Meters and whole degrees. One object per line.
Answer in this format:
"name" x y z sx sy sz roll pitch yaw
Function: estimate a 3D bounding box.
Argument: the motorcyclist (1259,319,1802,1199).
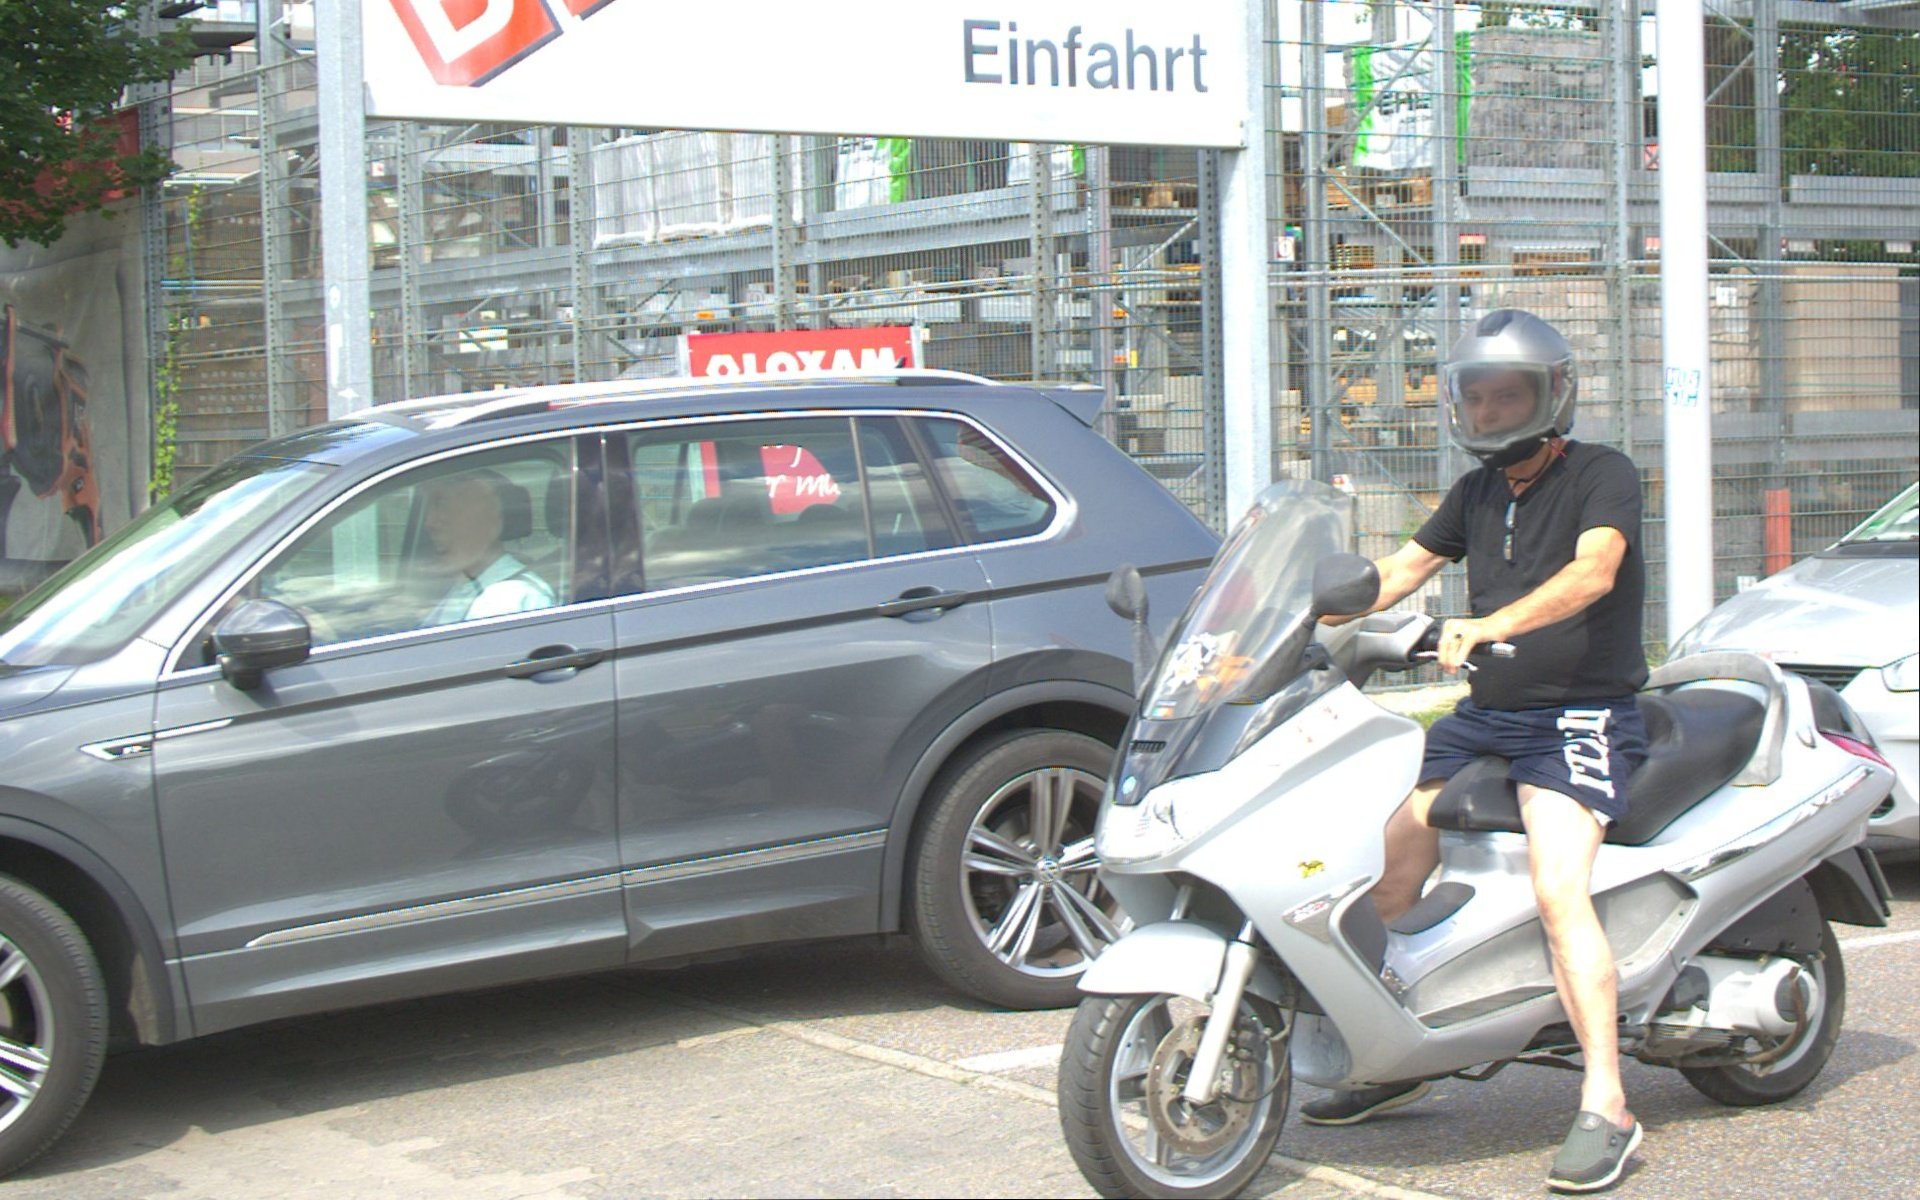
"motorcyclist" 1.118 0.276 6.800 0.684 1.623 0.789 -3 3 -30

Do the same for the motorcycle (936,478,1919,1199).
"motorcycle" 1.094 0.444 6.785 2.206 1.301 0.672 -3 3 -30

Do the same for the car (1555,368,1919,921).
"car" 4.176 0.004 11.317 4.195 1.559 1.723 -3 3 -29

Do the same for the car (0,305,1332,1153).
"car" -1.449 0.236 8.631 4.371 1.660 1.770 -5 4 -25
